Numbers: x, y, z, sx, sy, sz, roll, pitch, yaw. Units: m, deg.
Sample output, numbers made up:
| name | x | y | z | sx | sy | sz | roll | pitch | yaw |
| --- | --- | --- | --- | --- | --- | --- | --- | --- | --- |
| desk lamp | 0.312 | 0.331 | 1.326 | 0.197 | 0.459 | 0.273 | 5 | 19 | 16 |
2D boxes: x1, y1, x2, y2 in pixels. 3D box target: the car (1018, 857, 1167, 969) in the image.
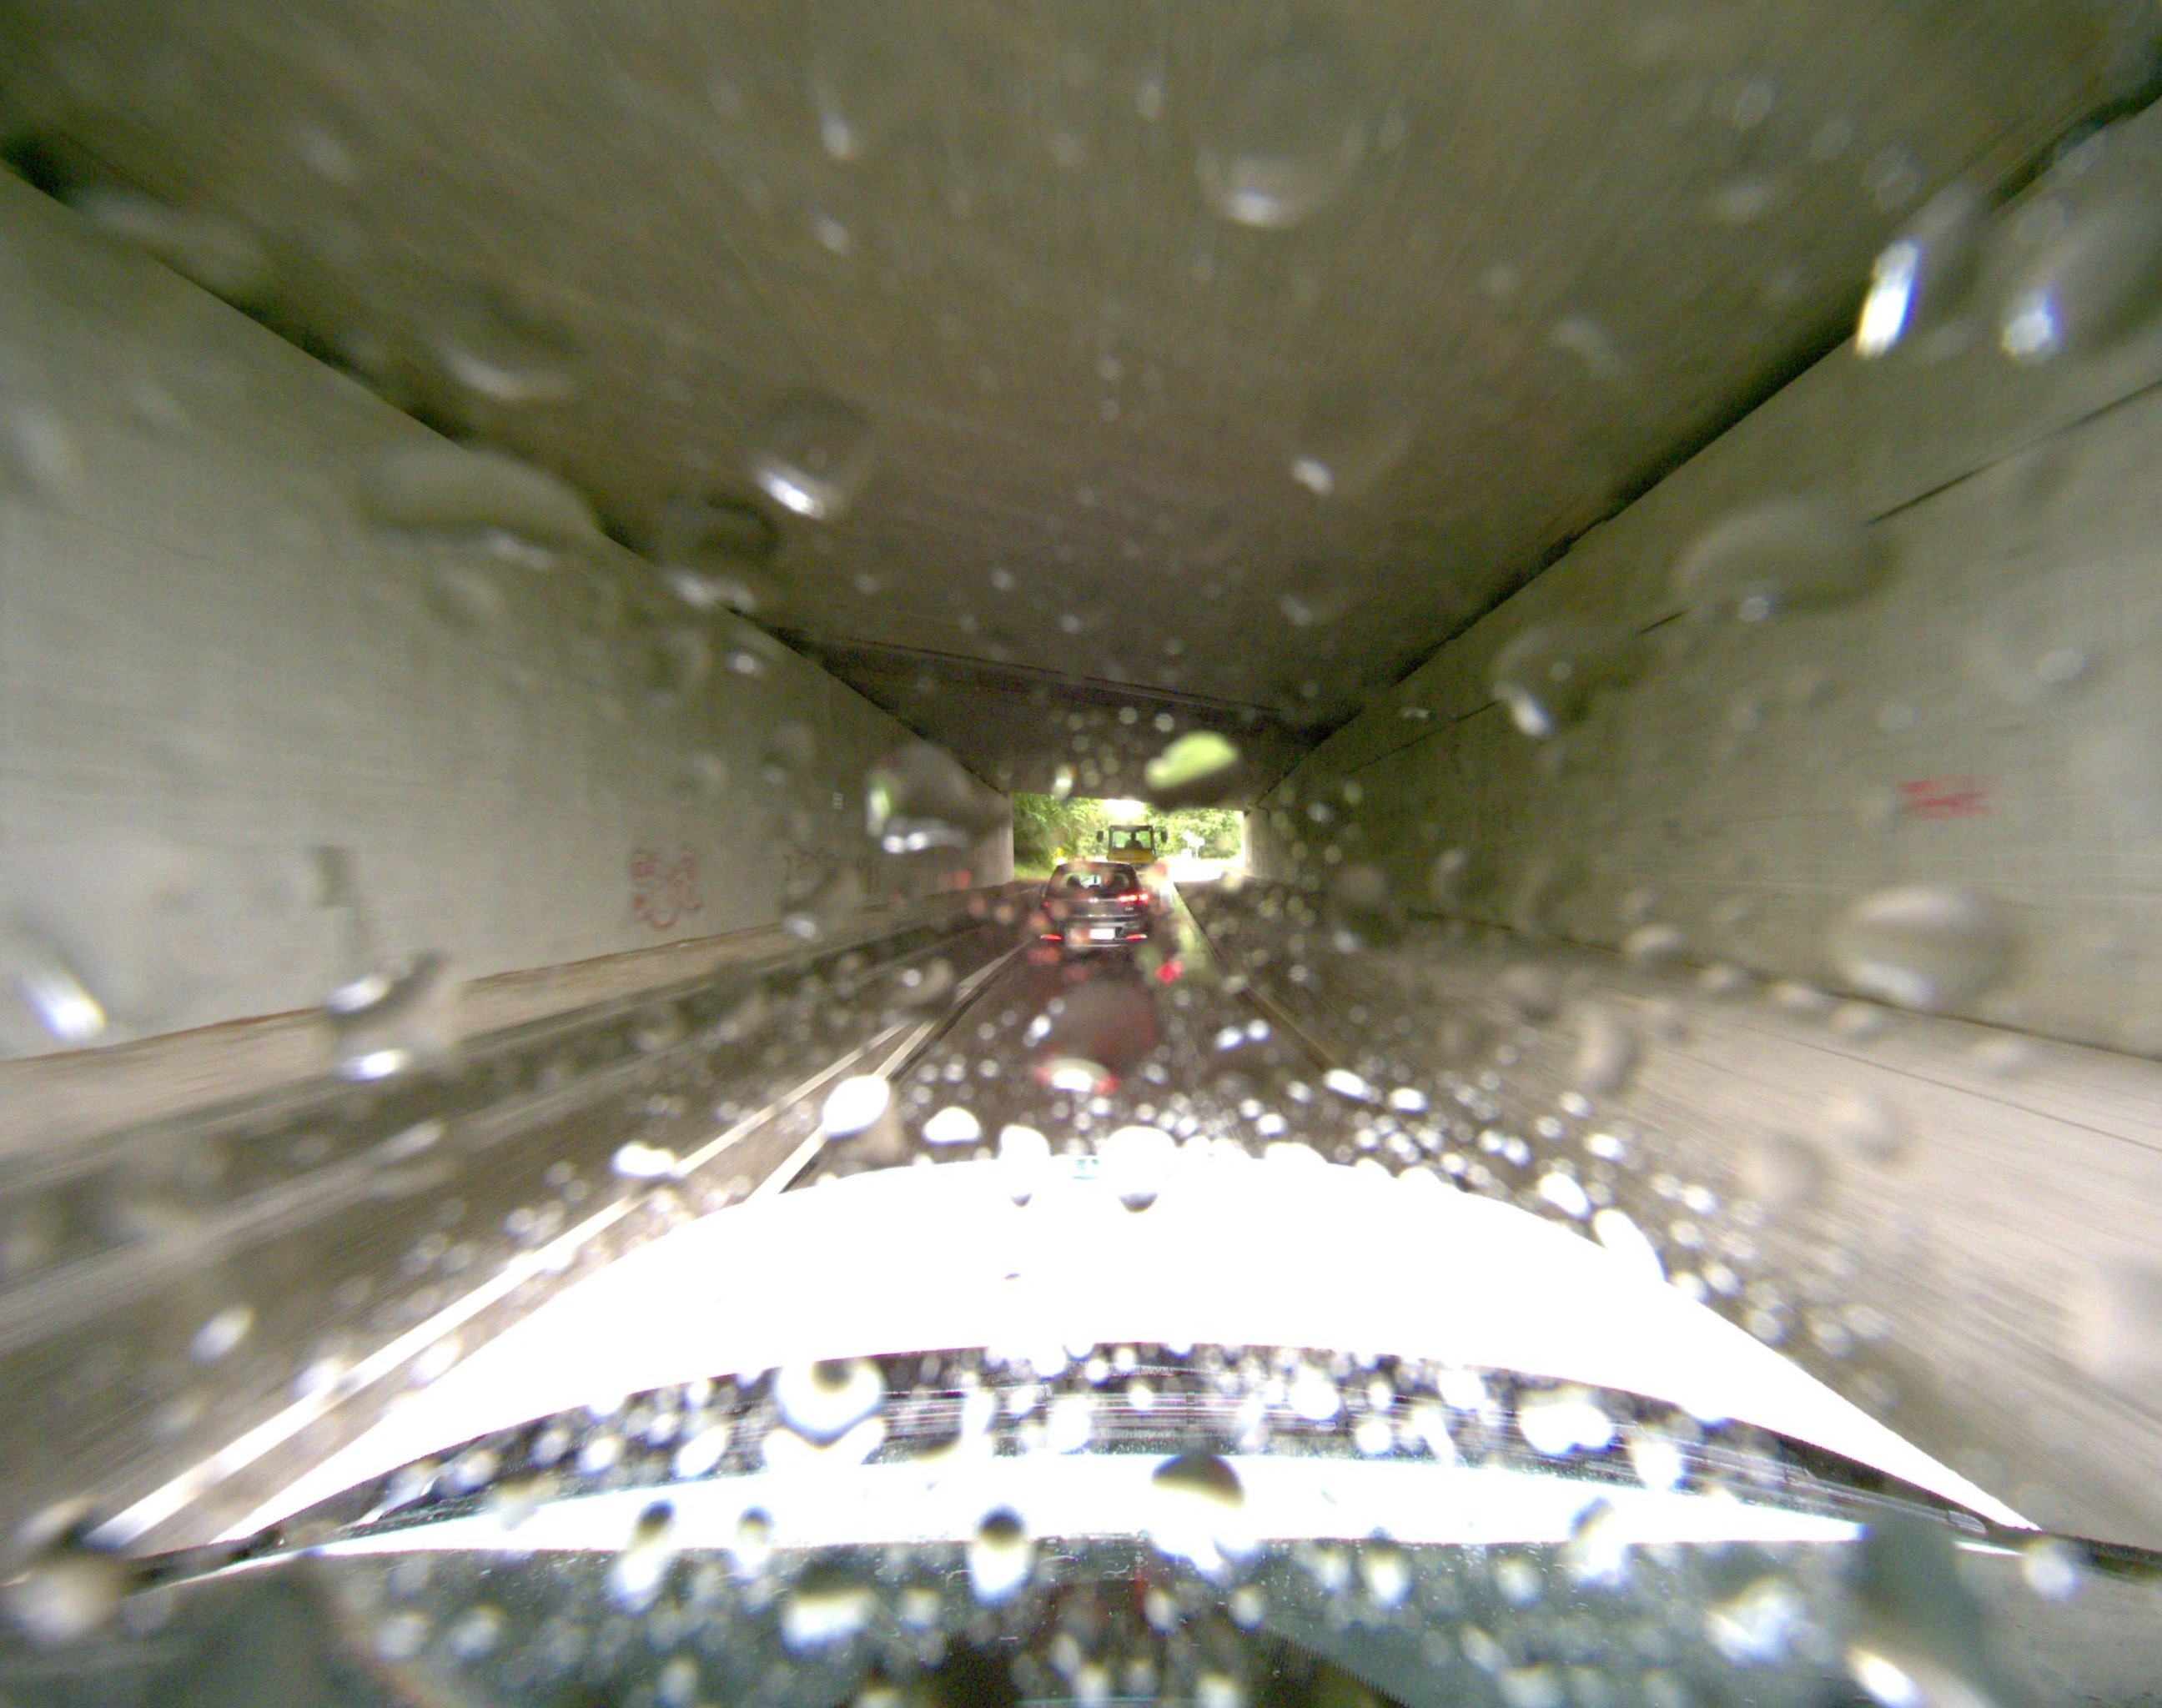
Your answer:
| name | x | y | z | sx | sy | sz | roll | pitch | yaw |
| --- | --- | --- | --- | --- | --- | --- | --- | --- | --- |
| car | 0.221 | 0.797 | 12.952 | 1.986 | 1.487 | 4.002 | 1 | 0 | 2 |

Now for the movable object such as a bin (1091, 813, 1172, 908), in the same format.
| name | x | y | z | sx | sy | sz | roll | pitch | yaw |
| --- | --- | --- | --- | --- | --- | --- | --- | --- | --- |
| movable object such as a bin | 1.665 | 0.188 | 26.252 | 2.235 | 2.669 | 6.634 | 1 | 0 | 4 |
